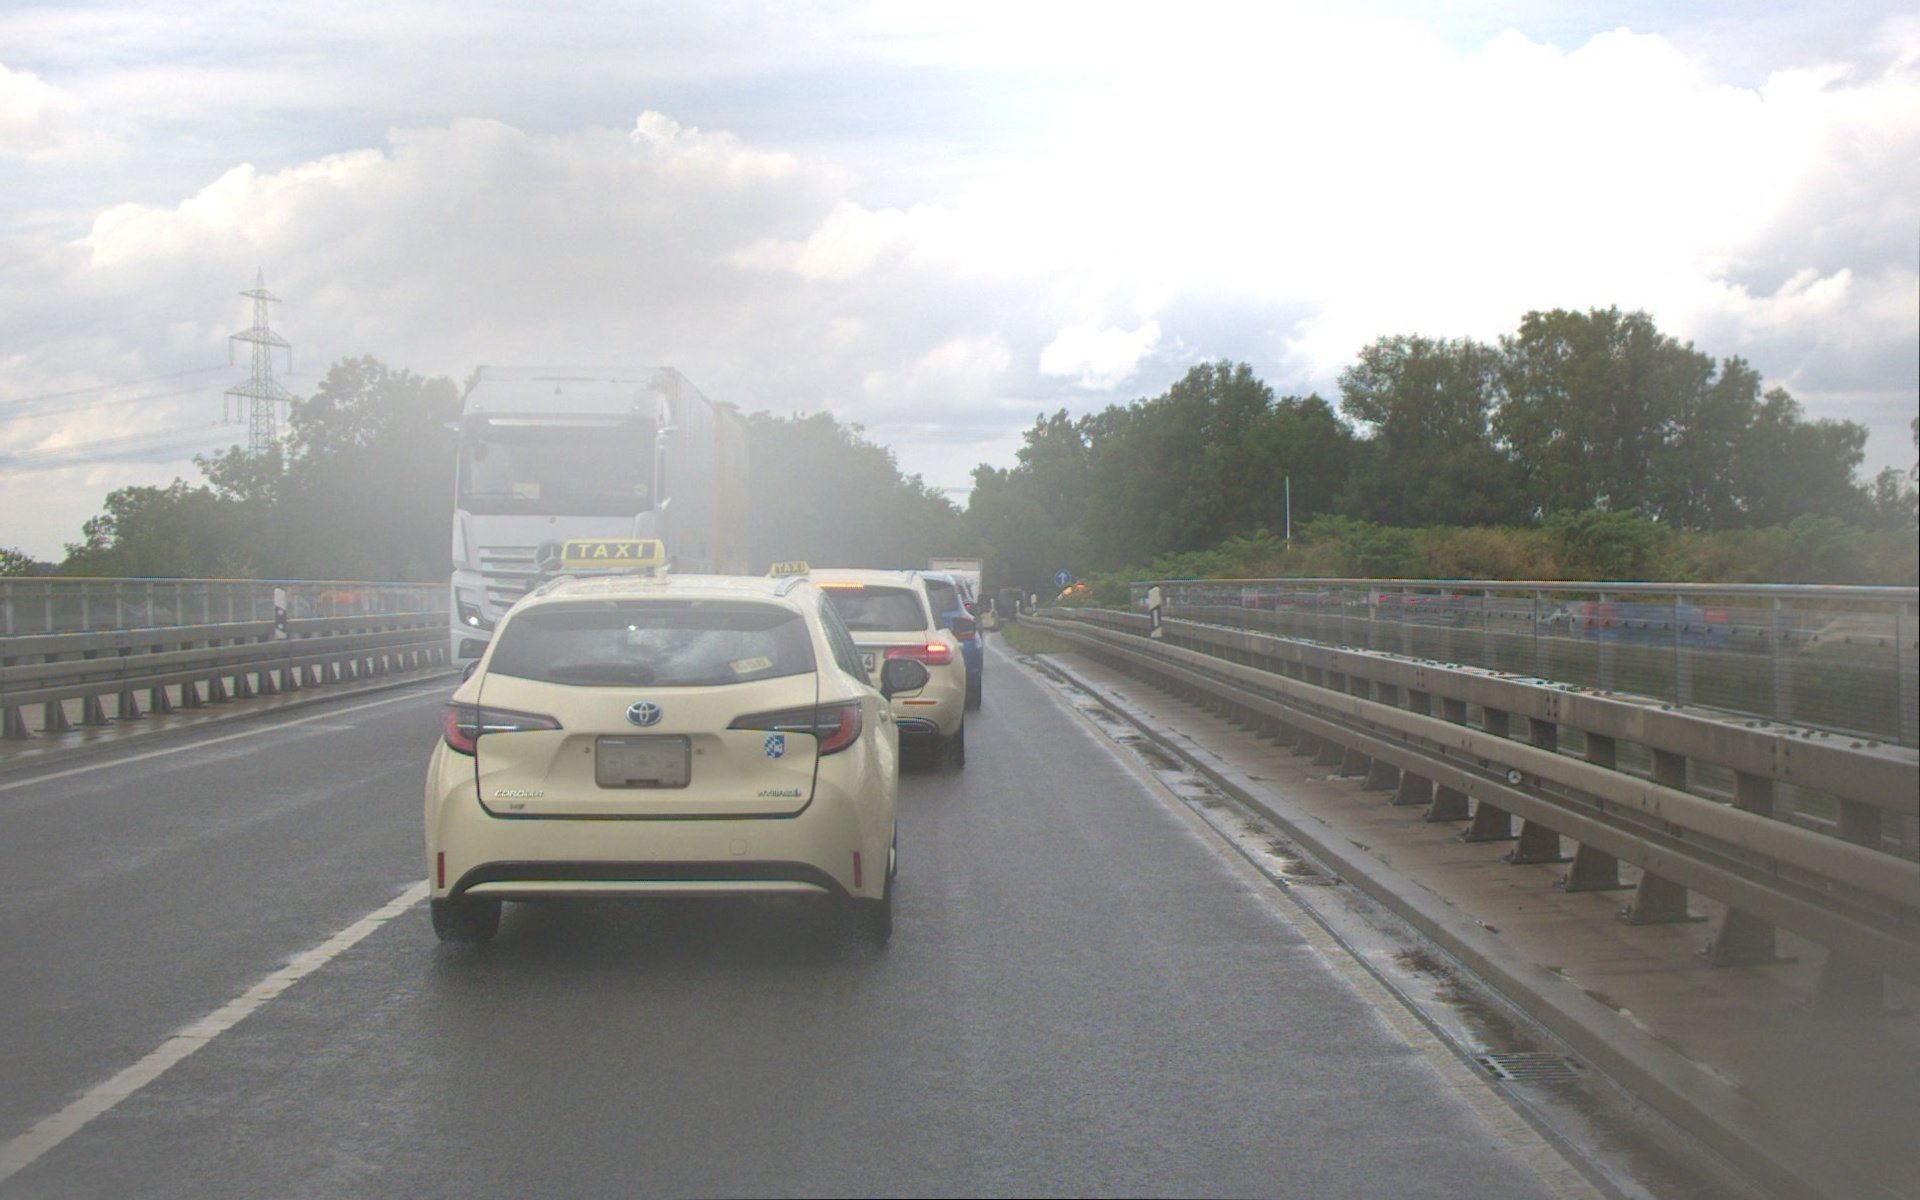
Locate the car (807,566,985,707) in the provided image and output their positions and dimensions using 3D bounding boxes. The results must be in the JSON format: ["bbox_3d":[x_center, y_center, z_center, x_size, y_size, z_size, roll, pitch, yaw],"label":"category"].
[{"bbox_3d":[-0.691,0.361,38.282,1.854,1.438,4.171,1,1,0],"label":"car"}]

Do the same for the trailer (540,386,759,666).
[{"bbox_3d":[-4.772,-1.127,54.348,2.682,4.061,8.485,0,1,0],"label":"trailer"}]

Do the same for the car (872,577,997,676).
[{"bbox_3d":[-0.404,0.383,53.890,1.854,1.438,4.171,1,1,0],"label":"car"}]

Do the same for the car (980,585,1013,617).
[{"bbox_3d":[2.351,0.071,220.549,1.993,2.007,4.000,1,0,-1],"label":"car"}]

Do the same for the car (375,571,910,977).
[{"bbox_3d":[-1.157,0.600,14.281,1.854,1.389,4.171,1,1,0],"label":"car"}]

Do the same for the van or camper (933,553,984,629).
[{"bbox_3d":[-0.090,-0.455,164.976,2.332,3.550,6.306,1,0,0],"label":"van or camper"}]

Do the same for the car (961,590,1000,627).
[{"bbox_3d":[1.126,0.461,189.968,1.993,2.007,4.000,1,0,-1],"label":"car"}]

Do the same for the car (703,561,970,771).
[{"bbox_3d":[-0.885,0.442,26.263,1.854,1.438,4.171,1,1,0],"label":"car"}]

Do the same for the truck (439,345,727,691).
[{"bbox_3d":[-4.733,-1.014,45.071,2.682,4.003,10.055,0,1,0],"label":"truck"}]

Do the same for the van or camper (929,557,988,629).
[{"bbox_3d":[-0.083,-0.303,141.989,2.332,2.854,6.306,1,0,0],"label":"van or camper"}]
